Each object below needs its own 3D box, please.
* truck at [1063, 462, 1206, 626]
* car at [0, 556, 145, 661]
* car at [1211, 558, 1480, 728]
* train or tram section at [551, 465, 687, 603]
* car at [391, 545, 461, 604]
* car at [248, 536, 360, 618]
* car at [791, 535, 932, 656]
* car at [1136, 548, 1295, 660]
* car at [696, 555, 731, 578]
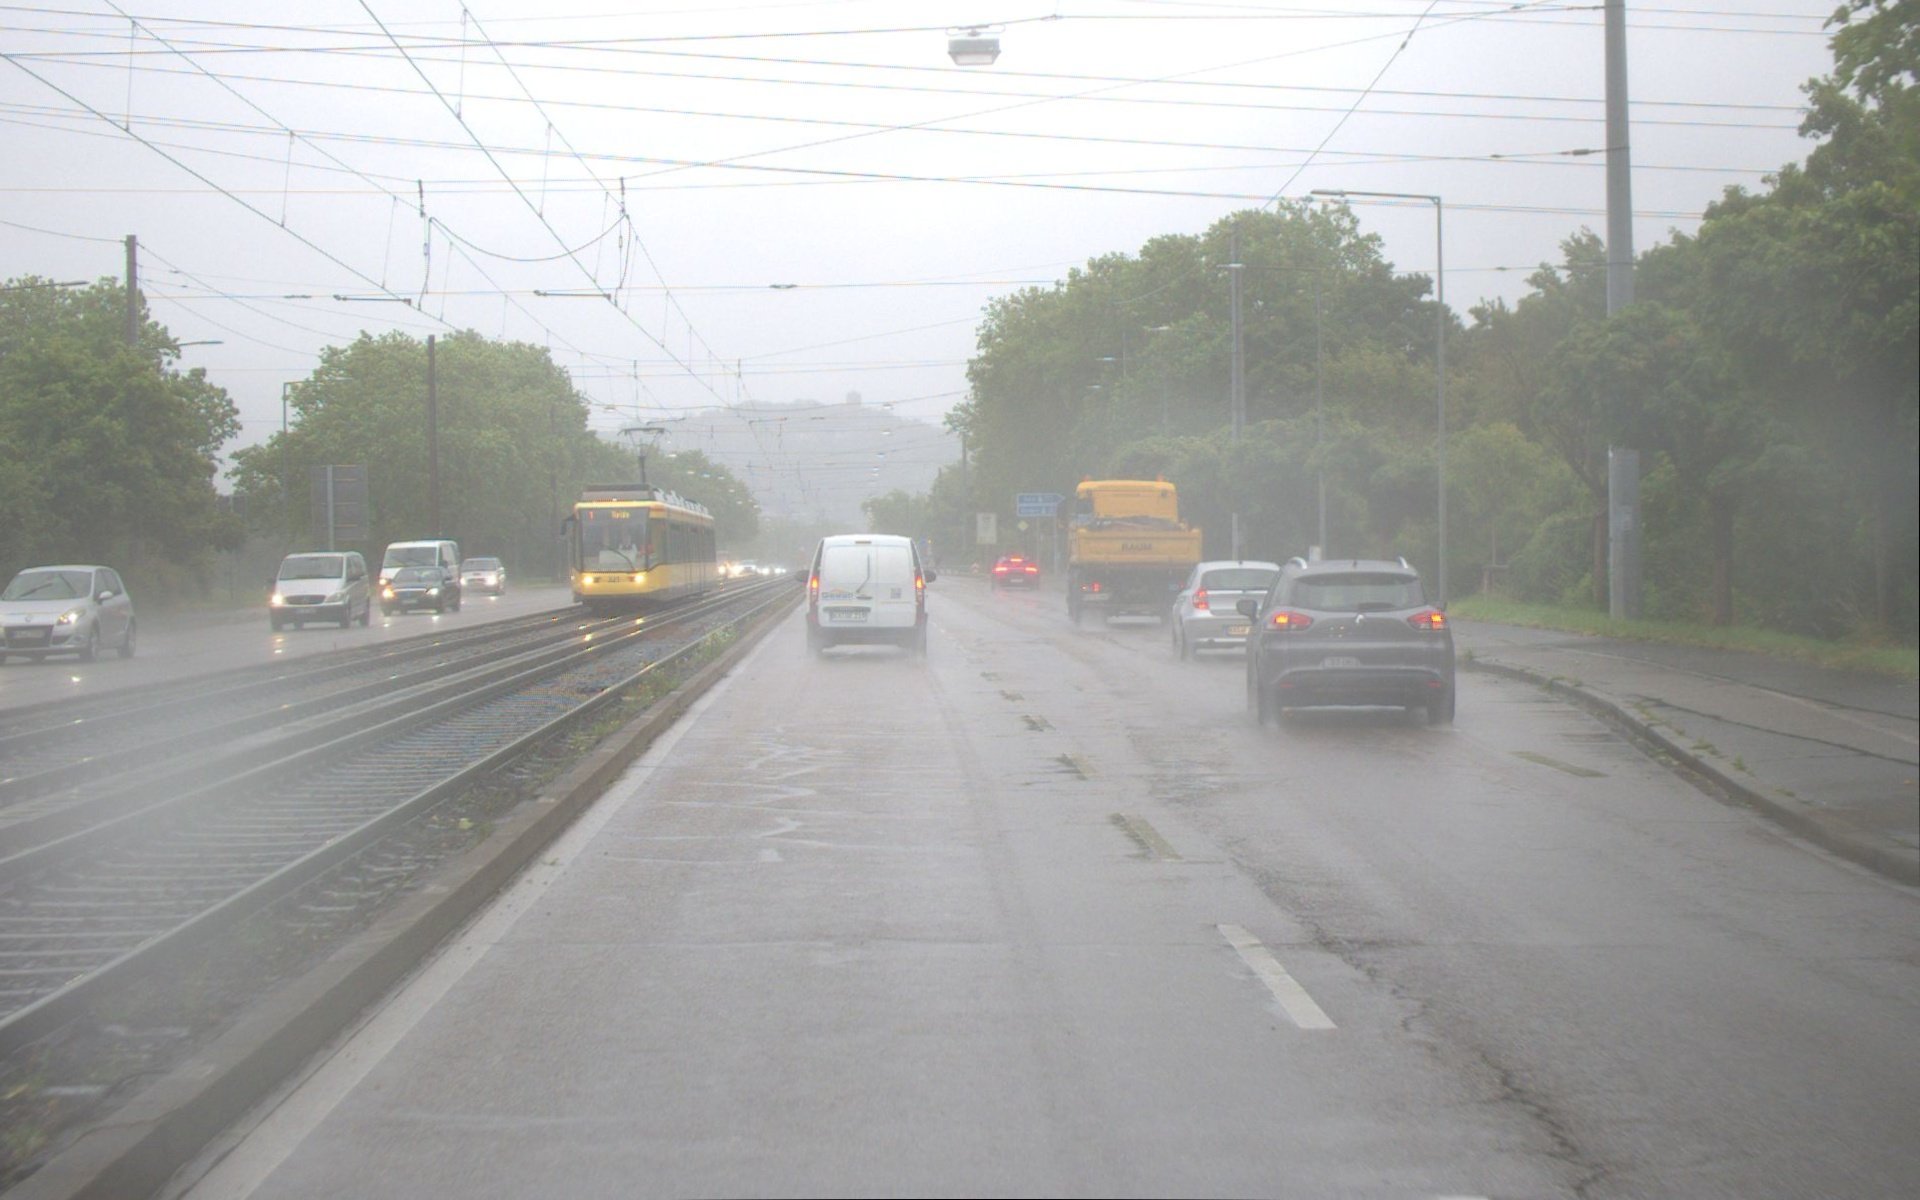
[{"bbox_3d":[3.592,-1.216,72.248,2.555,3.246,6.933,1,1,-1],"label":"truck"},{"bbox_3d":[-15.275,0.115,58.336,1.888,1.637,4.347,1,2,0],"label":"car"},{"bbox_3d":[3.413,0.342,31.179,1.887,1.352,4.277,1,2,-1],"label":"car"},{"bbox_3d":[-9.863,-2.013,101.317,2.864,3.693,17.893,1,2,-2],"label":"train or tram section"},{"bbox_3d":[-16.330,-0.787,105.239,1.667,1.717,3.733,1,1,-2],"label":"car"},{"bbox_3d":[-16.062,-0.592,84.330,1.888,1.878,4.622,1,2,0],"label":"car"},{"bbox_3d":[-1.424,-0.099,50.825,1.989,1.678,3.740,1,1,0],"label":"car"},{"bbox_3d":[3.711,0.029,50.571,1.626,1.498,4.607,1,2,-5],"label":"car"},{"bbox_3d":[-17.352,-2.388,242.202,1.993,1.459,5.251,-3,1,1],"label":"car"}]
